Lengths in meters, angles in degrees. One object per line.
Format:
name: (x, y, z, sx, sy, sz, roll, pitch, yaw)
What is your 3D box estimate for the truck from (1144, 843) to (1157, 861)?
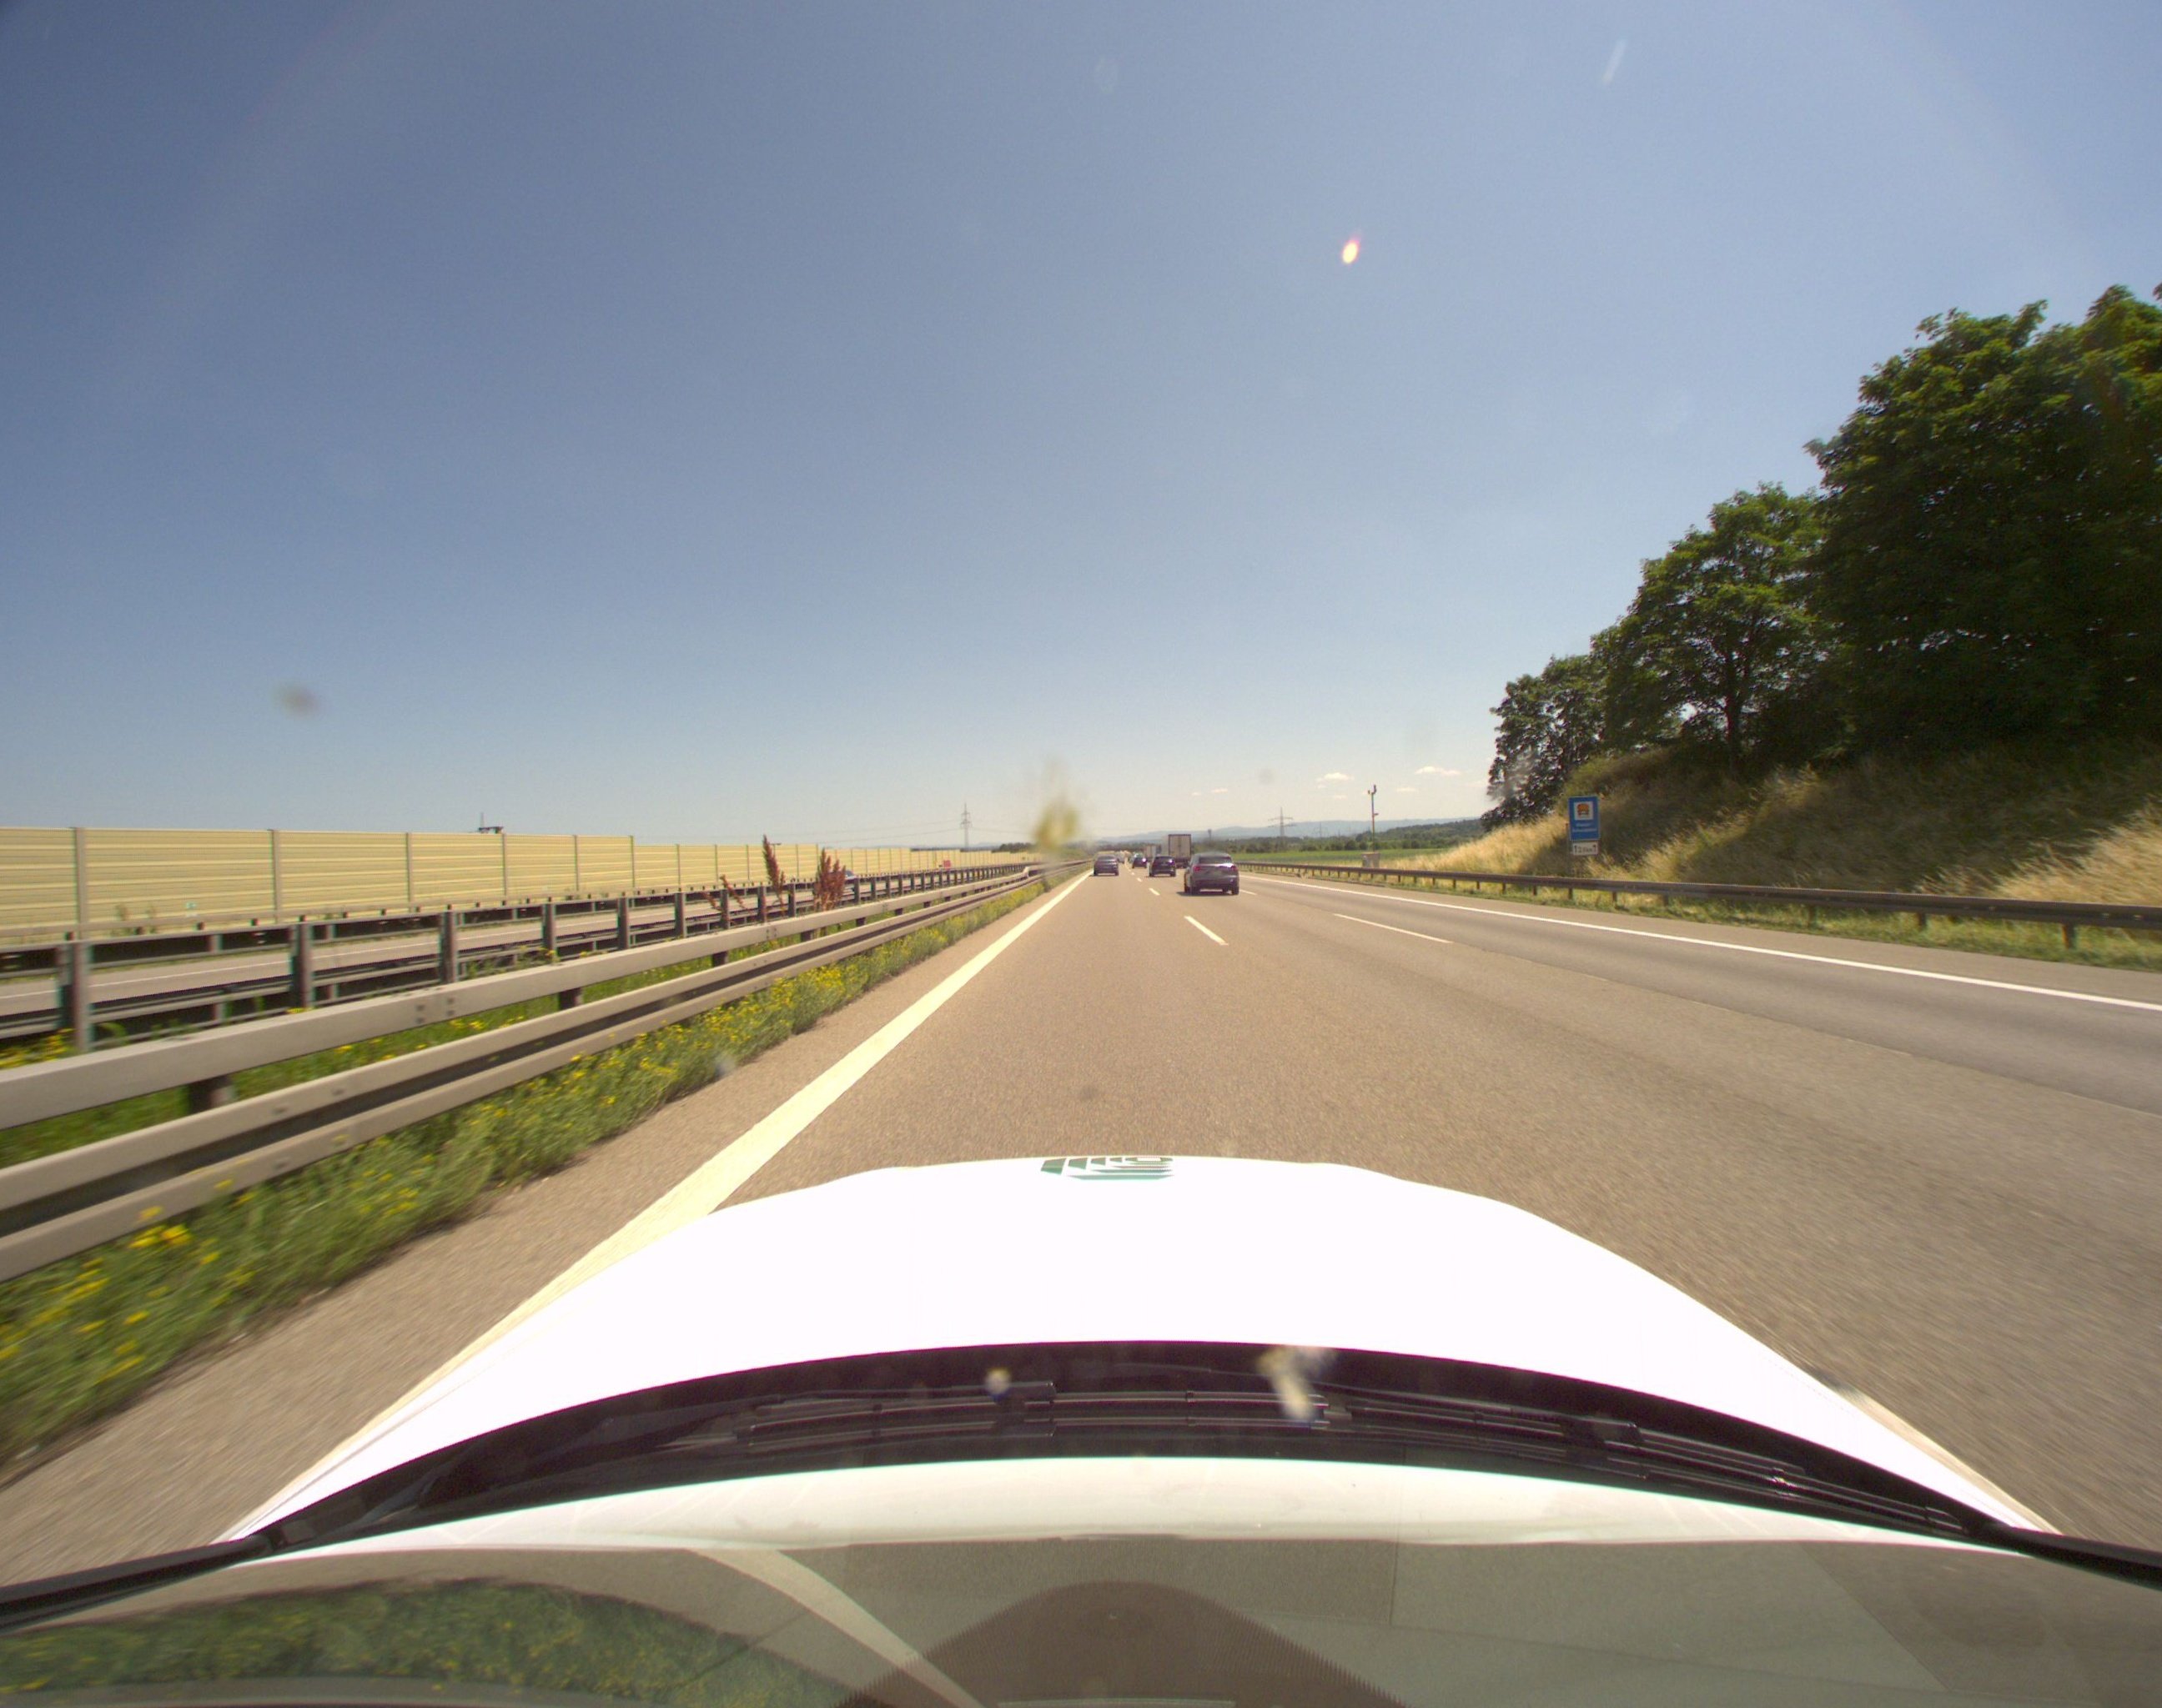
truck: (16.899, -0.481, 199.225, 2.966, 4.228, 7.695, -1, 0, 4)

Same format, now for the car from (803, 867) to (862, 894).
car: (-15.474, 1.645, 50.979, 1.986, 1.464, 4.815, -2, 0, 2)

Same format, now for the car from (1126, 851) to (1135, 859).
car: (10.466, 0.282, 171.851, 1.985, 1.683, 4.004, -1, 0, 4)

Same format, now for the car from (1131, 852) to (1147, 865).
car: (7.274, 0.595, 102.616, 1.925, 1.574, 4.939, -1, 0, 3)

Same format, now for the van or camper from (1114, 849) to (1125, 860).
van or camper: (7.686, 0.163, 162.184, 2.101, 2.211, 5.271, -1, 0, 4)

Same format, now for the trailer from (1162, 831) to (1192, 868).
trailer: (11.611, -0.450, 99.950, 2.855, 4.220, 13.306, -1, 0, 3)

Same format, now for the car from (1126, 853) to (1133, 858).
car: (14.664, 0.470, 247.452, 1.985, 1.683, 4.004, -1, 0, 4)

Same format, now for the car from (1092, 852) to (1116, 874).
car: (1.805, 0.734, 64.803, 1.845, 1.664, 3.735, -1, 0, 1)

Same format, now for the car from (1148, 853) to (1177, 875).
car: (5.937, 0.714, 59.697, 1.790, 1.562, 3.824, -1, 0, 1)

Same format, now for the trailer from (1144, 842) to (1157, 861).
trailer: (16.444, -0.495, 192.829, 2.930, 4.198, 13.611, -1, 0, 4)

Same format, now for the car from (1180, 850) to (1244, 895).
car: (5.108, 0.694, 32.276, 1.845, 1.648, 4.645, -1, 0, 1)
